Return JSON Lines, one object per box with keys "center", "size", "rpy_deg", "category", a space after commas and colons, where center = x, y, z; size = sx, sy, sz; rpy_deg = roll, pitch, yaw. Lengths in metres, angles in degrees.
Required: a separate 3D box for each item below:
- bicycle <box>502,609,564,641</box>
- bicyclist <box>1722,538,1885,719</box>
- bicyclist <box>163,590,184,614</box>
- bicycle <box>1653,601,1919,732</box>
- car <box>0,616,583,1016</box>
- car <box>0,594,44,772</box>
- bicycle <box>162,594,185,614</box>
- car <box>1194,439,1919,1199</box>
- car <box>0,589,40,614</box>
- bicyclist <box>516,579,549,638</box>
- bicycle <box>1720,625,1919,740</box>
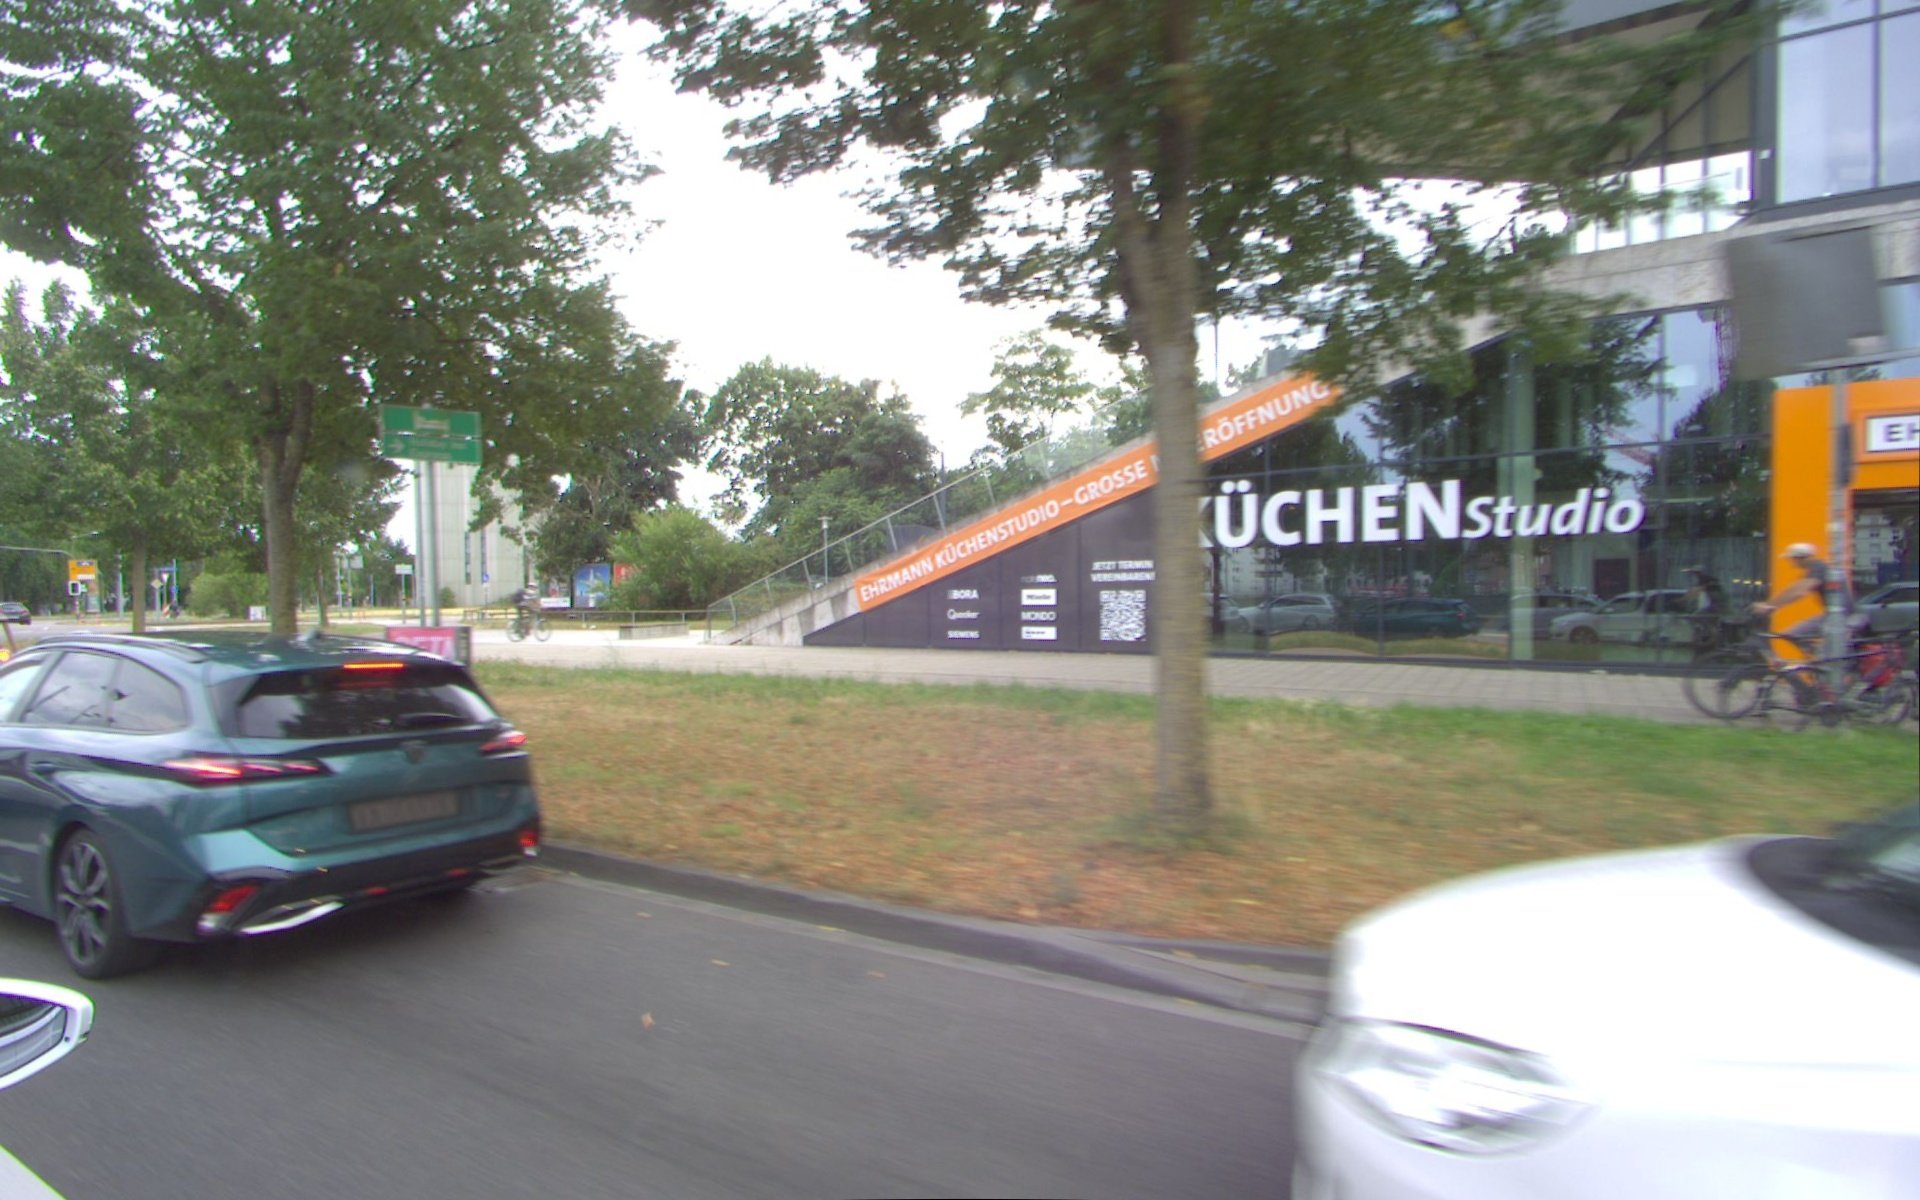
{"center": [-14.056, 0.808, 33.010], "size": [0.556, 0.997, 1.930], "rpy_deg": [0, 0, 31], "category": "bicycle"}
{"center": [8.699, 0.255, 10.397], "size": [1.112, 1.761, 0.994], "rpy_deg": [0, 4, 31], "category": "bicyclist"}
{"center": [-59.033, 0.166, 75.147], "size": [1.157, 1.813, 0.865], "rpy_deg": [0, 1, 31], "category": "bicyclist"}
{"center": [8.633, 0.638, 10.440], "size": [2.234, 1.251, 0.900], "rpy_deg": [0, 1, 31], "category": "bicycle"}
{"center": [-4.267, 0.830, 5.532], "size": [4.245, 1.450, 1.786], "rpy_deg": [0, -1, 29], "category": "car"}
{"center": [-10.778, 0.773, 9.764], "size": [3.854, 1.646, 1.783], "rpy_deg": [0, 0, 33], "category": "car"}
{"center": [-59.084, 0.309, 75.198], "size": [1.978, 1.526, 0.703], "rpy_deg": [0, 1, 32], "category": "bicycle"}
{"center": [2.550, 0.632, 1.459], "size": [3.966, 1.678, 1.775], "rpy_deg": [0, 0, 33], "category": "car"}
{"center": [-63.190, 0.091, 67.149], "size": [4.352, 1.658, 1.774], "rpy_deg": [0, 0, 42], "category": "car"}
{"center": [-14.097, 0.278, 33.015], "size": [0.723, 1.911, 0.727], "rpy_deg": [1, 1, 30], "category": "bicyclist"}
{"center": [8.211, 0.726, 9.030], "size": [2.075, 0.968, 0.629], "rpy_deg": [0, 1, 28], "category": "bicycle"}
